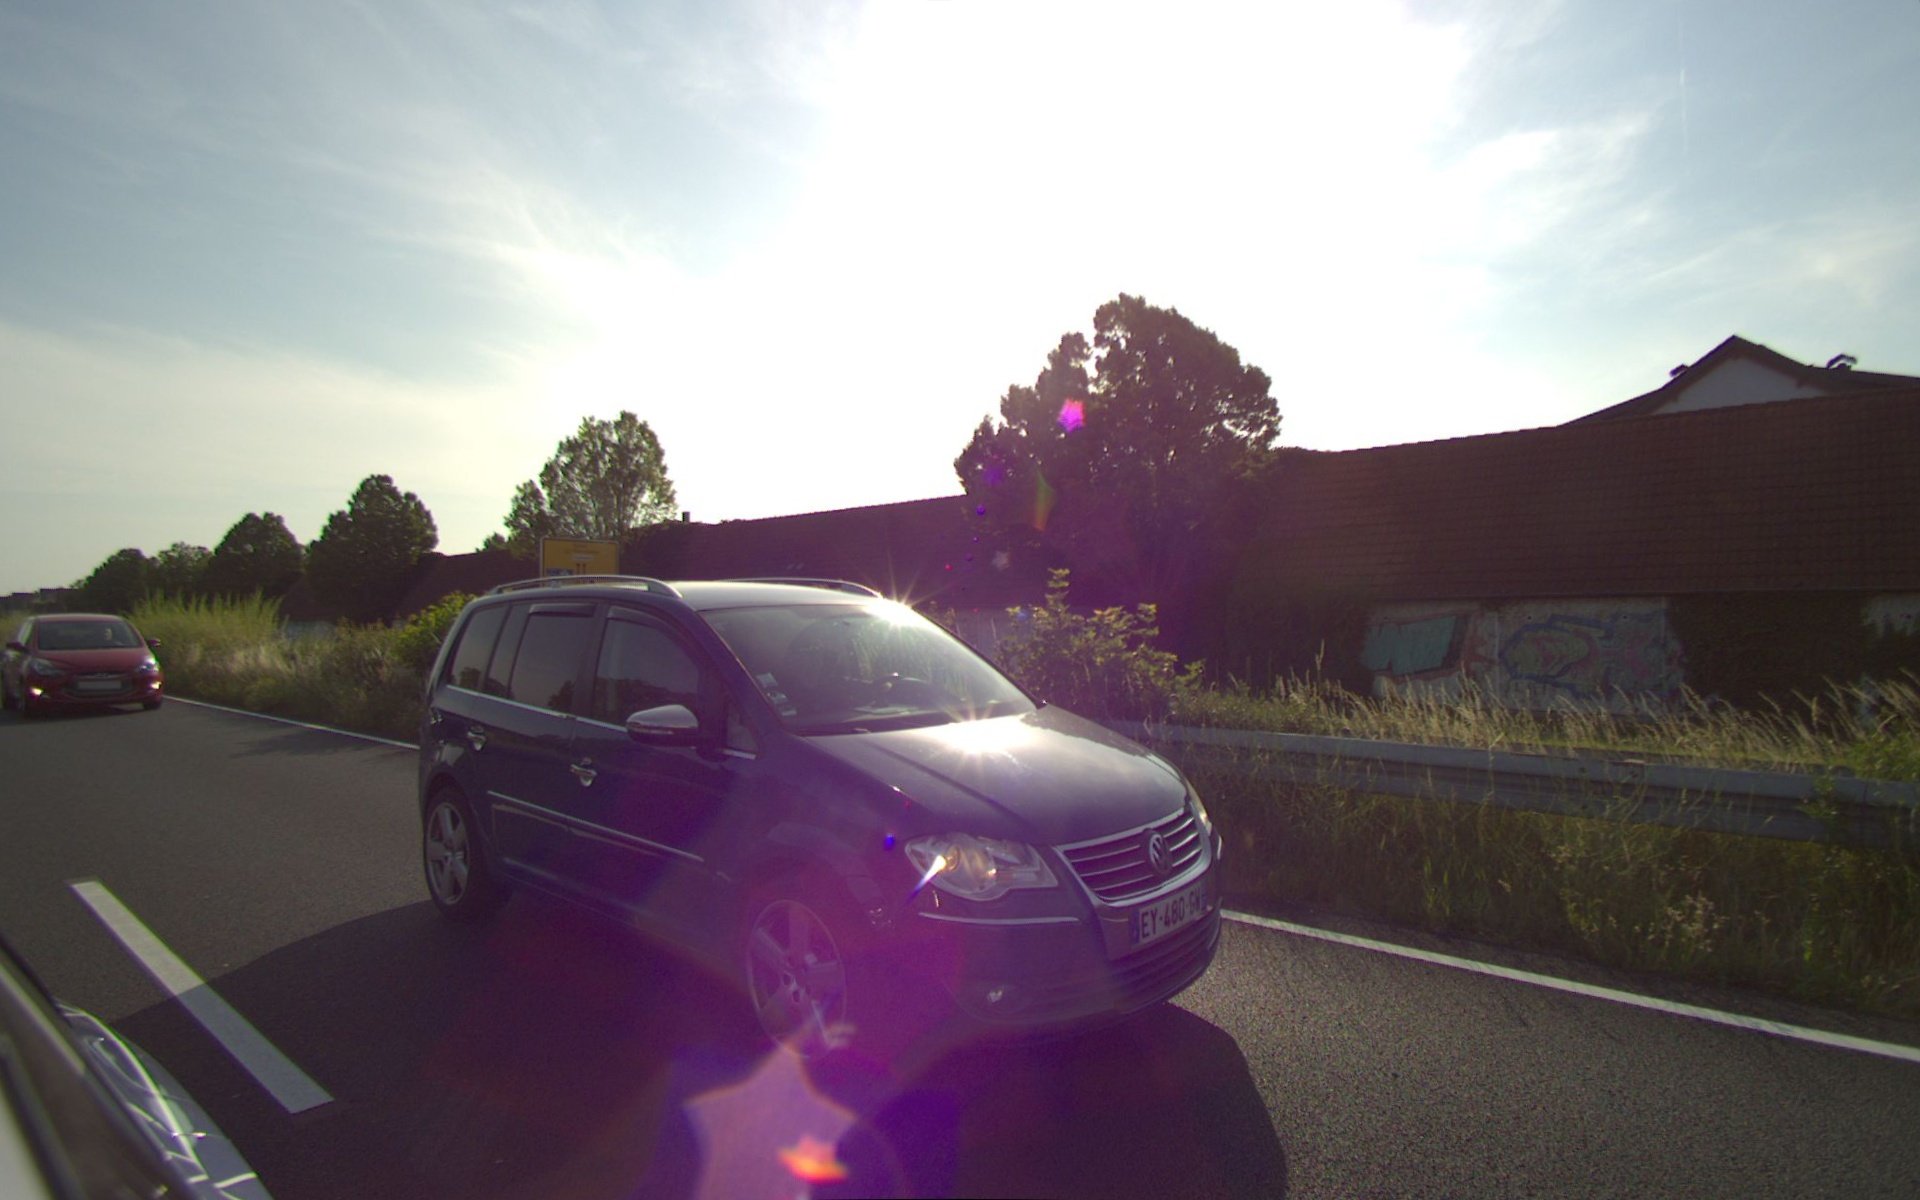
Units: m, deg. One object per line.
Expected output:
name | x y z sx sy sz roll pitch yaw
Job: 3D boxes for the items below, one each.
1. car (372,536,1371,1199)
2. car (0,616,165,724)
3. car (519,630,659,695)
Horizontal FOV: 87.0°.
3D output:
car | -0.843 0.693 4.543 4.680 1.633 1.754 -1 -1 42
car | -14.946 1.079 17.069 3.998 1.557 1.725 -1 0 42
car | -9.923 1.600 26.926 4.183 1.520 1.671 -1 0 41
